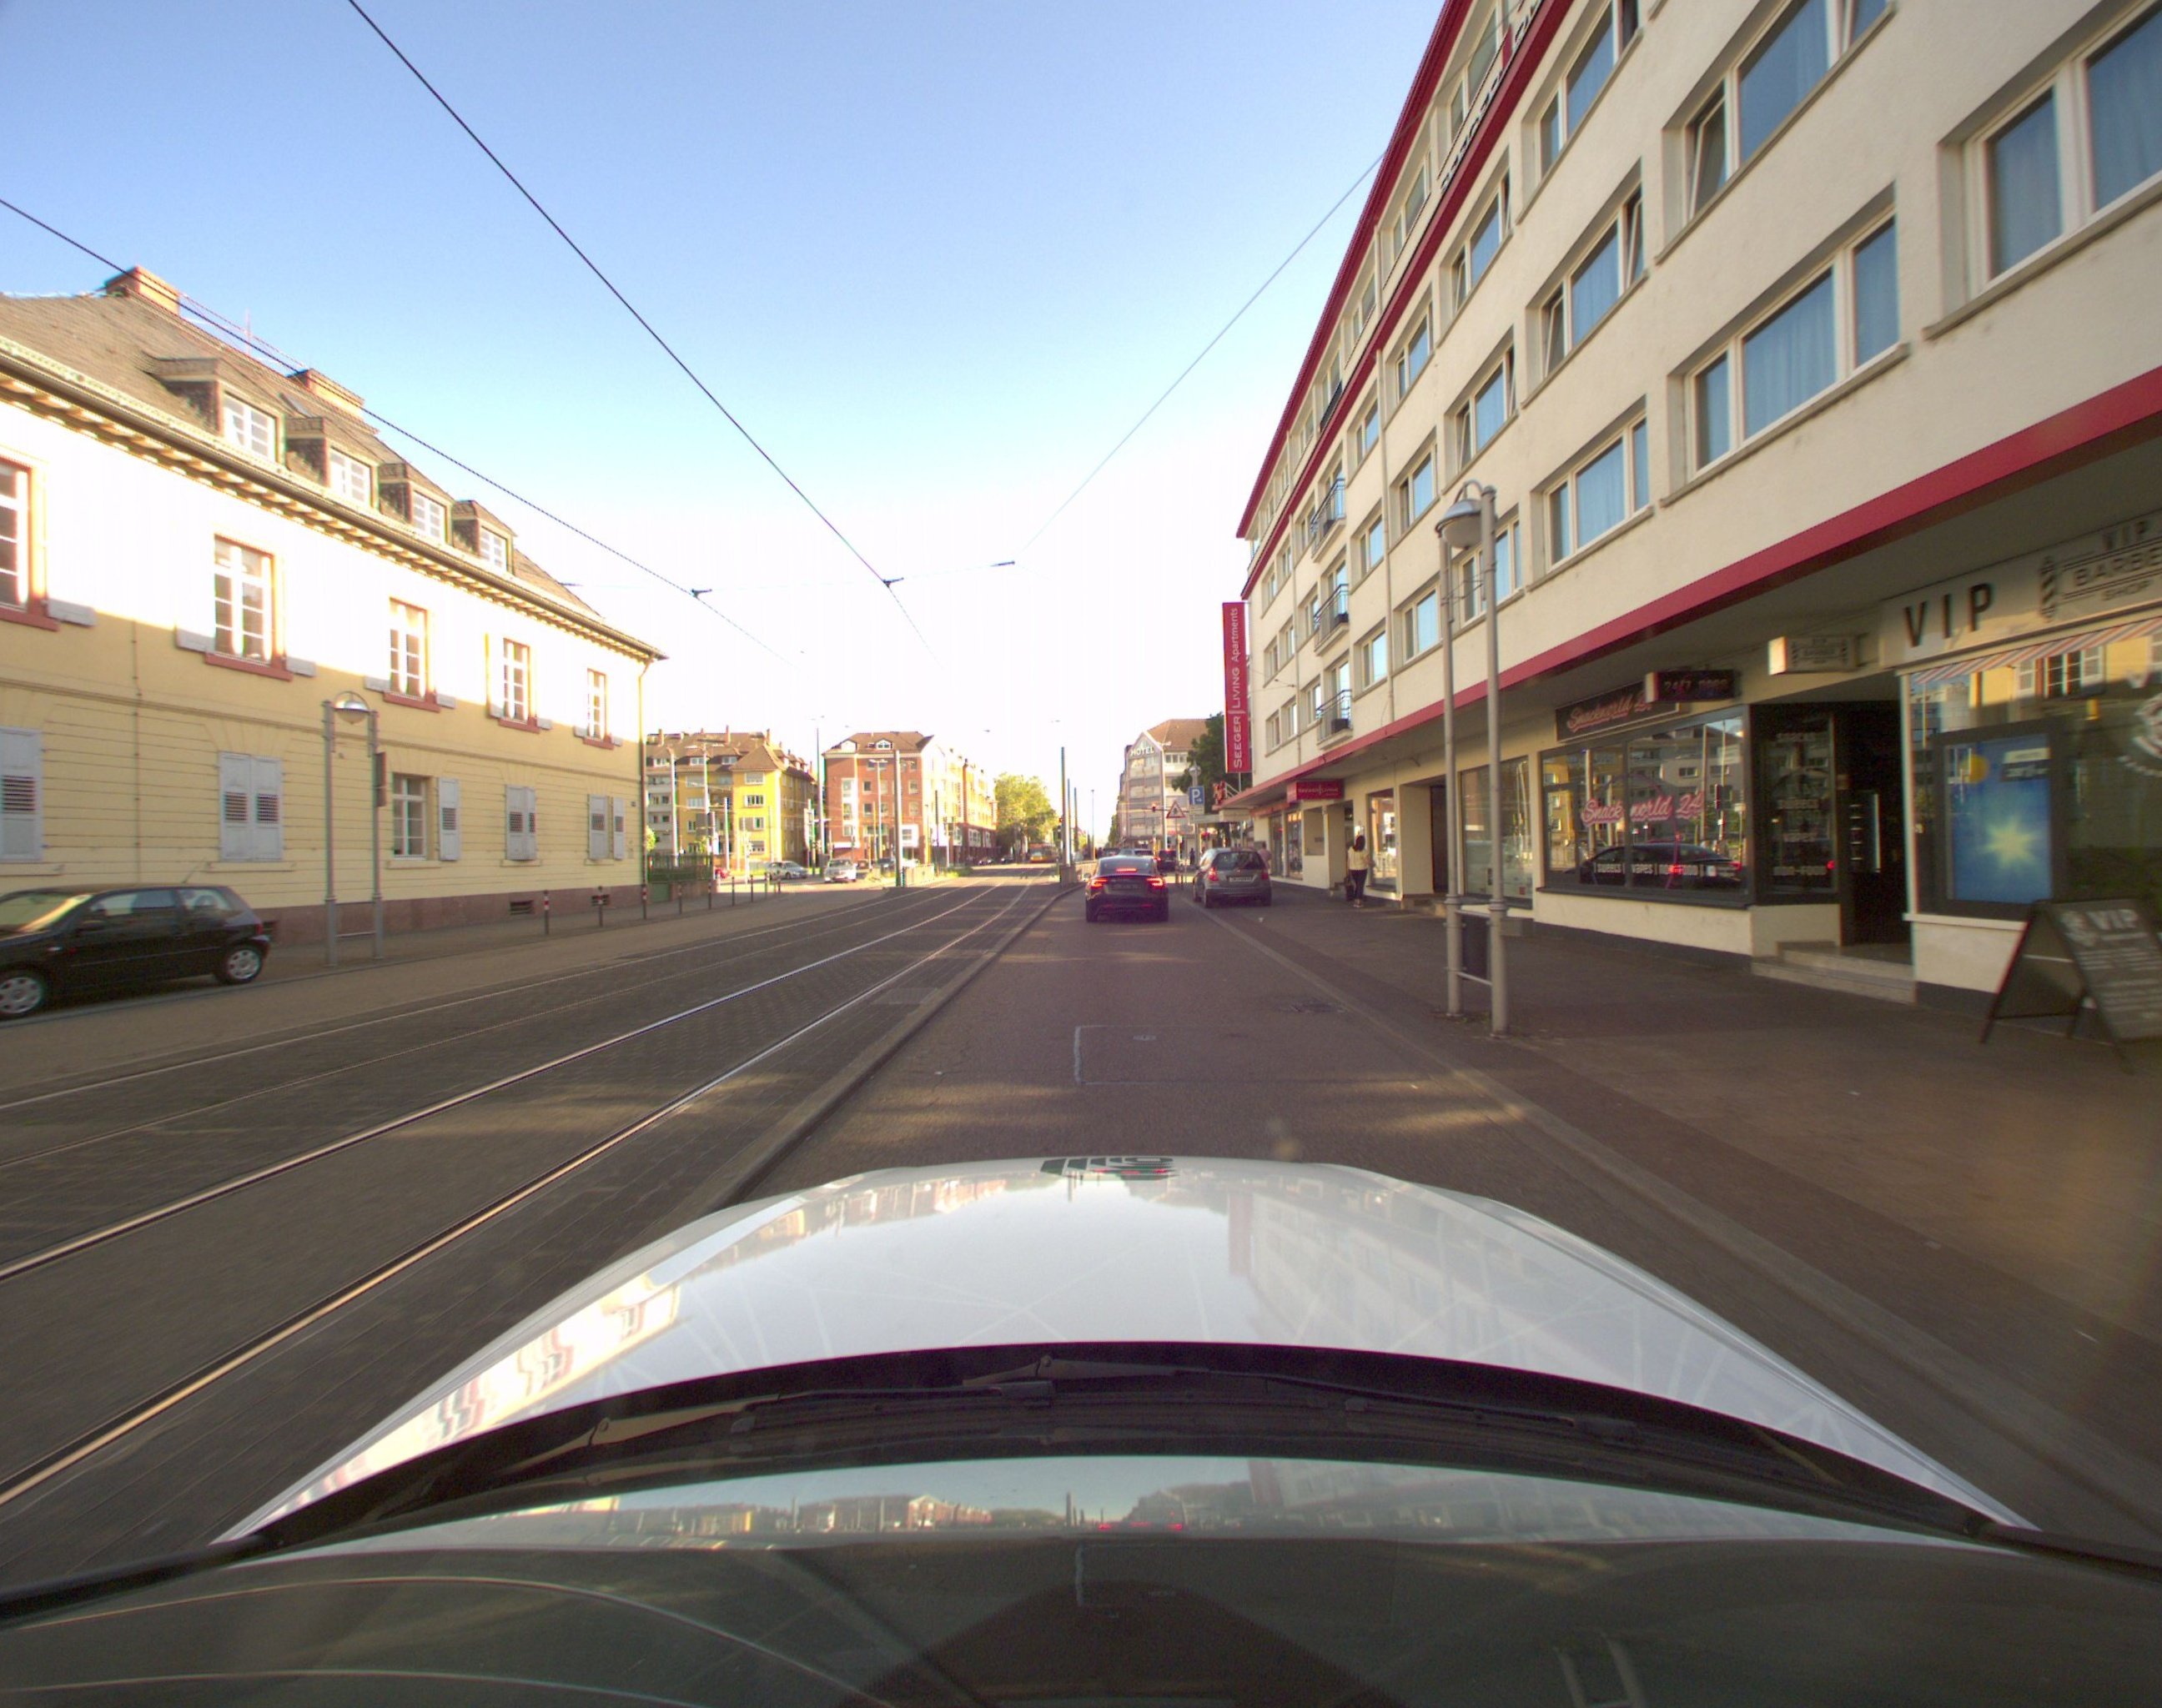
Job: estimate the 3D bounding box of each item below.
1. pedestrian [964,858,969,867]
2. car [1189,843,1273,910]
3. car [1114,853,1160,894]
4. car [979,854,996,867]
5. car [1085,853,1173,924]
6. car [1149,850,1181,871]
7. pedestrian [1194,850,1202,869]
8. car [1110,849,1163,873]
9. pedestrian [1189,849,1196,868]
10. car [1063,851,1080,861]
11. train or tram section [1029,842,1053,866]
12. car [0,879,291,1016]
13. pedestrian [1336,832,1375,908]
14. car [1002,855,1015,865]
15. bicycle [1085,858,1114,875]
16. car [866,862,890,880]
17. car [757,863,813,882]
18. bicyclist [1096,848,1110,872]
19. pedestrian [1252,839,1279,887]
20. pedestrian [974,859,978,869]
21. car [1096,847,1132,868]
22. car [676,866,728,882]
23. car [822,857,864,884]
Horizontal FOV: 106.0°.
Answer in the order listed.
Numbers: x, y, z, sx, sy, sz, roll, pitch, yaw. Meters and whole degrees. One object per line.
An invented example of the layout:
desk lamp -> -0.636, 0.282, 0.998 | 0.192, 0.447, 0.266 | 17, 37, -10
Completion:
pedestrian -> -18.041, 1.372, 128.443 | 0.708, 1.342, 0.666 | -1, 0, 2
car -> 4.066, 0.557, 22.639 | 1.738, 1.632, 3.651 | -3, 0, 2
car -> 2.077, 0.670, 30.828 | 1.647, 1.418, 4.003 | 0, 0, 3
car -> -15.271, 1.010, 133.325 | 1.986, 2.013, 4.002 | -2, 0, 2
car -> 1.034, 0.734, 18.993 | 1.842, 1.484, 3.787 | 0, 0, 1
car -> 6.343, 0.462, 61.886 | 1.820, 1.519, 3.645 | 1, 0, -3
pedestrian -> 9.748, 0.450, 67.703 | 0.626, 1.613, 0.644 | 0, 0, 5
car -> 3.630, 0.447, 53.891 | 1.791, 1.519, 4.186 | 1, 0, -23
pedestrian -> 9.589, 0.384, 69.901 | 0.559, 1.683, 0.751 | 0, 0, 7
car -> -1.326, 0.289, 112.520 | 1.984, 1.420, 4.005 | 1, 0, 5
train or tram section -> -6.358, 0.050, 131.709 | 2.664, 3.715, 14.200 | 0, 0, 2
car -> -12.589, 1.073, 10.233 | 1.608, 1.400, 3.721 | 1, 0, 1
pedestrian -> 6.613, 0.373, 19.675 | 0.797, 1.774, 0.936 | -2, -1, 16
car -> -12.102, 0.960, 136.328 | 1.744, 1.651, 4.002 | 1, 0, 2
bicycle -> 1.175, 0.792, 51.258 | 1.726, 1.088, 0.677 | 1, -1, -6
car -> -17.750, 1.468, 71.402 | 1.765, 1.512, 4.263 | -1, 0, -11
car -> -25.521, 1.553, 70.266 | 4.551, 1.556, 1.826 | 0, -1, 25
bicyclist -> 1.374, 0.377, 51.355 | 0.835, 1.500, 0.559 | 1, -1, -6
pedestrian -> 6.688, 0.324, 29.444 | 0.810, 1.683, 0.718 | 0, -1, 25
pedestrian -> -17.413, 1.621, 135.249 | 0.710, 1.667, 0.563 | 1, -1, -7
car -> 2.426, 0.261, 61.701 | 1.825, 1.519, 4.202 | 1, 0, -11
car -> -36.560, 1.926, 78.597 | 4.142, 1.490, 1.933 | 0, 0, -8
car -> -14.454, 0.998, 49.653 | 1.881, 1.495, 4.912 | -2, 0, -11
